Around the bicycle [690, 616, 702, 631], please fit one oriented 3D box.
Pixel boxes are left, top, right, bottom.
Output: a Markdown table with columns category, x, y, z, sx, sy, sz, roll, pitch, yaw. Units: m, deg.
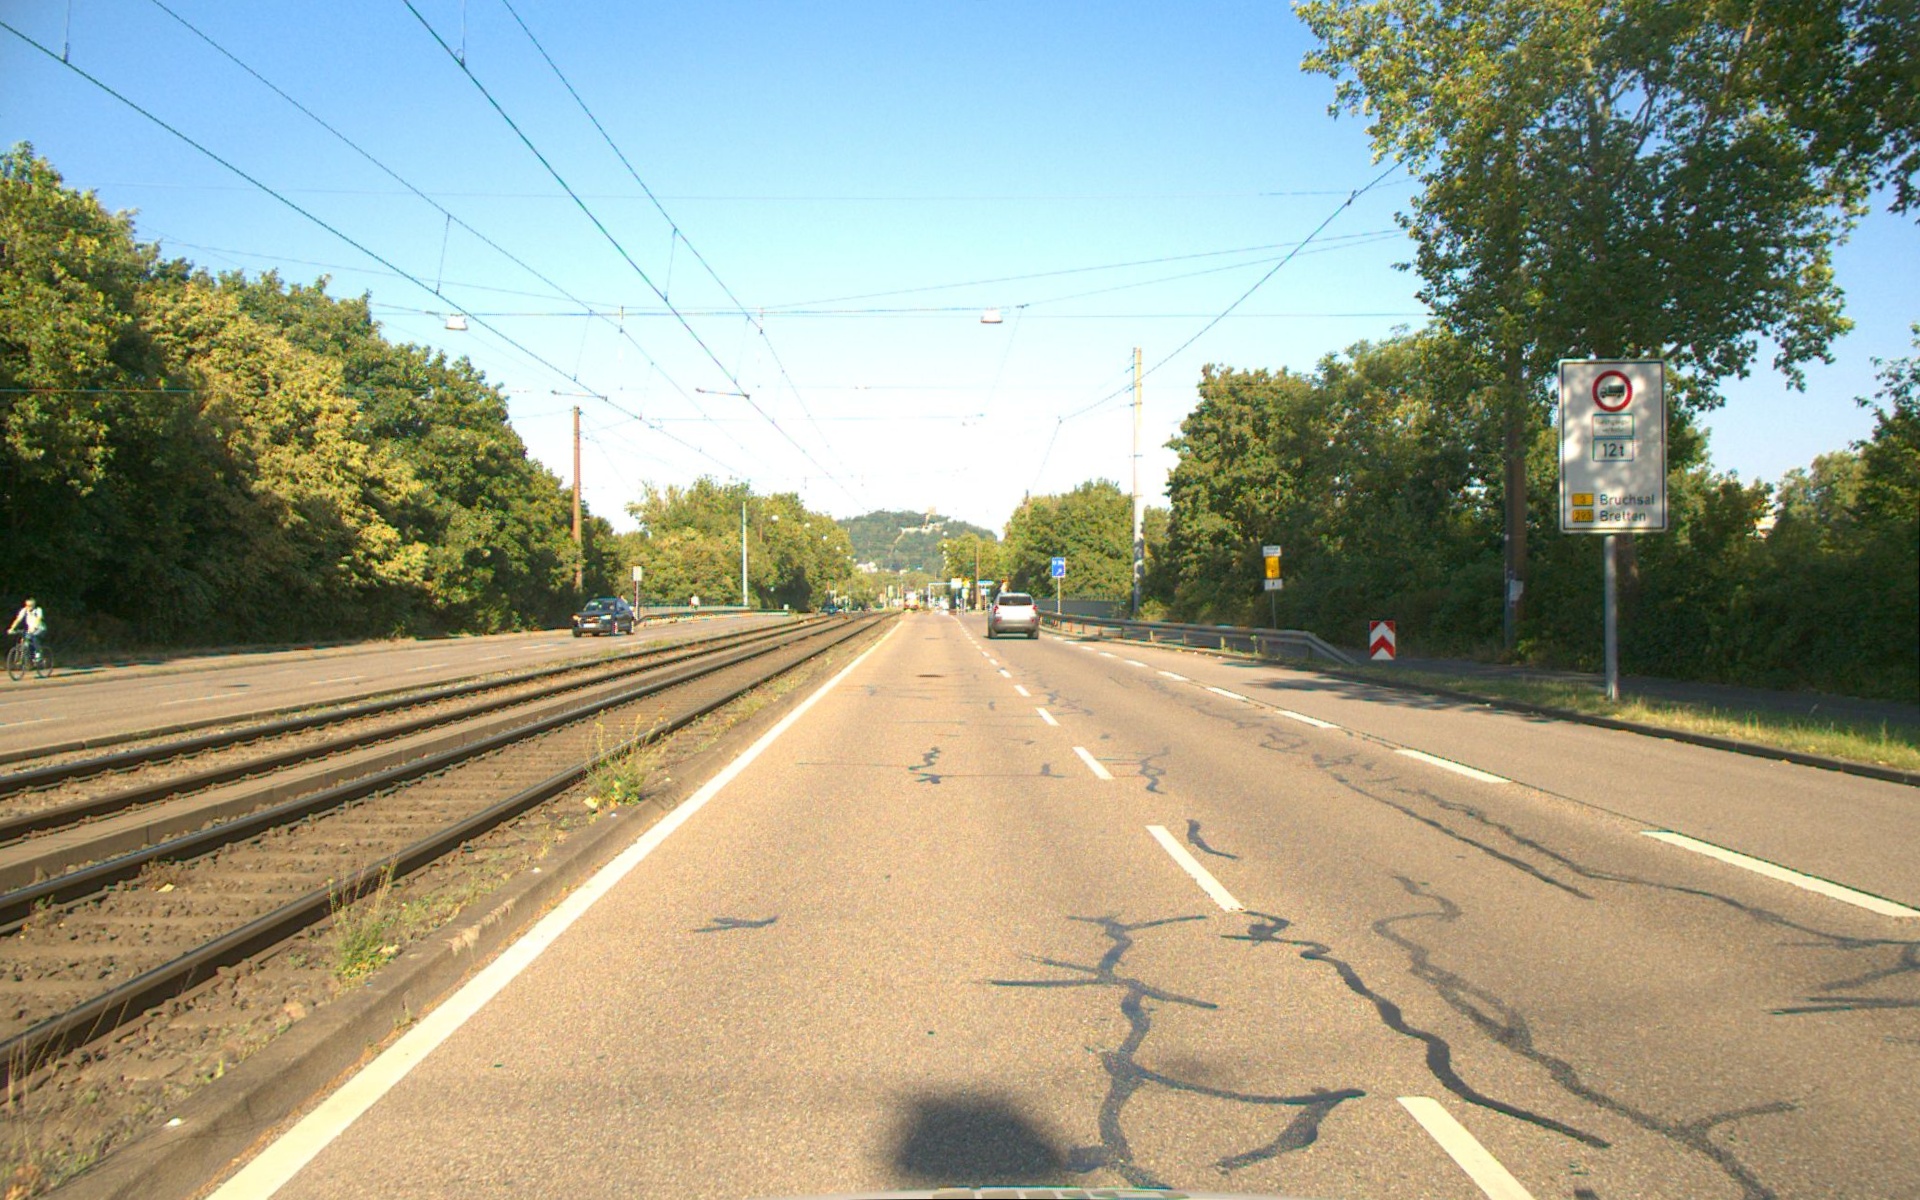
| category | x | y | z | sx | sy | sz | roll | pitch | yaw |
| --- | --- | --- | --- | --- | --- | --- | --- | --- | --- |
| bicycle | -19.342 | 1.710 | 121.178 | 0.529 | 1.061 | 1.924 | 1 | 0 | -1 |

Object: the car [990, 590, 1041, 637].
| category | x | y | z | sx | sy | sz | roll | pitch | yaw |
| --- | --- | --- | --- | --- | --- | --- | --- | --- | --- |
| car | 2.079 | 0.504 | 62.735 | 1.849 | 1.723 | 4.257 | 0 | 0 | 1 |

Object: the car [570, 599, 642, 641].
| category | x | y | z | sx | sy | sz | roll | pitch | yaw |
| --- | --- | --- | --- | --- | --- | --- | --- | --- | --- |
| car | -15.603 | 0.866 | 73.134 | 1.952 | 1.715 | 4.797 | -2 | 0 | 2 |

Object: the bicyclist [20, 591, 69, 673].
| category | x | y | z | sx | sy | sz | roll | pitch | yaw |
| --- | --- | --- | --- | --- | --- | --- | --- | --- | --- |
| bicyclist | -19.715 | 0.680 | 35.622 | 0.539 | 1.720 | 0.820 | 1 | 0 | 3 |

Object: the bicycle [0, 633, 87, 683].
| category | x | y | z | sx | sy | sz | roll | pitch | yaw |
| --- | --- | --- | --- | --- | --- | --- | --- | --- | --- |
| bicycle | -19.827 | 1.239 | 35.801 | 0.539 | 1.003 | 2.239 | 1 | 0 | 3 |

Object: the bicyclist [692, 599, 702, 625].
| category | x | y | z | sx | sy | sz | roll | pitch | yaw |
| --- | --- | --- | --- | --- | --- | --- | --- | --- | --- |
| bicyclist | -19.326 | 0.889 | 121.456 | 0.529 | 1.895 | 0.875 | 1 | 0 | -1 |
